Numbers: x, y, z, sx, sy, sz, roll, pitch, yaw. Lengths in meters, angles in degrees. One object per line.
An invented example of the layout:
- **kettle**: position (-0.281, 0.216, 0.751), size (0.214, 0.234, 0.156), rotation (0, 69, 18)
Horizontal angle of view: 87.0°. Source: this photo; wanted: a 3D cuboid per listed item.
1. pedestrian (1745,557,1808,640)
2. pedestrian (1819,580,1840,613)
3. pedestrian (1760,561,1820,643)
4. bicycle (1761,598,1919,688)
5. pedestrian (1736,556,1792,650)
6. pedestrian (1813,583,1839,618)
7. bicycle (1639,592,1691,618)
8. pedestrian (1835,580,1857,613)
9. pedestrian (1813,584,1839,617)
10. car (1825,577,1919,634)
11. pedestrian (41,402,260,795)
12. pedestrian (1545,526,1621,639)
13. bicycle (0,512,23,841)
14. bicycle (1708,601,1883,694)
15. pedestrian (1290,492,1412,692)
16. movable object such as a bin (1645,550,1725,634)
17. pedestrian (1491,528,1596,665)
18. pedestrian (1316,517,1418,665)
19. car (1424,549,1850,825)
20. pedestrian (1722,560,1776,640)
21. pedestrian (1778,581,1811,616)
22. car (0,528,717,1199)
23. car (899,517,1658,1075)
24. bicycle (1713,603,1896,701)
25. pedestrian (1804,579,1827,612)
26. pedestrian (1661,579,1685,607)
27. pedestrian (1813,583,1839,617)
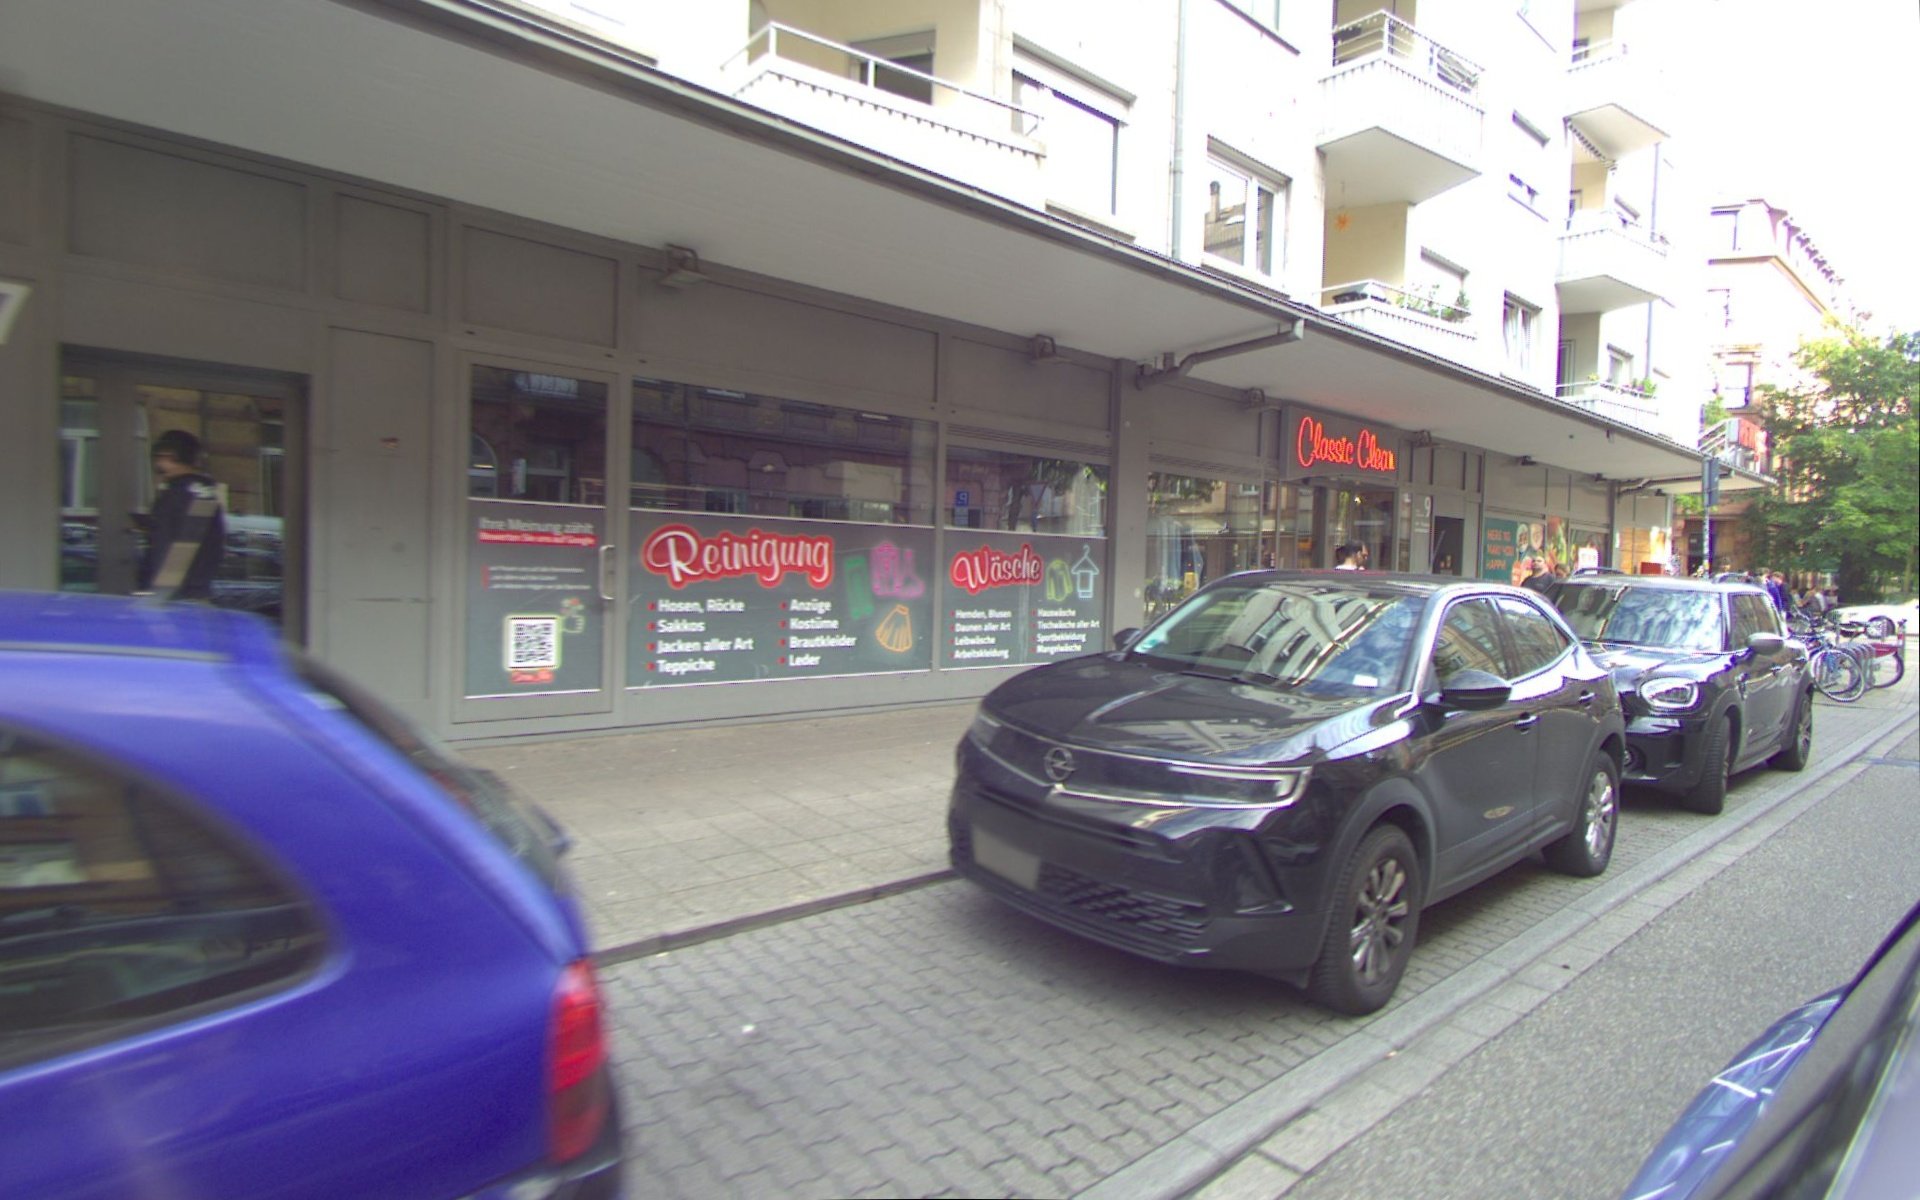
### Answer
- **pedestrian**: position (18.720, -0.047, 23.216), size (0.619, 1.818, 0.716), rotation (4, 3, -8)
- **pedestrian**: position (36.680, -0.158, 42.677), size (0.462, 1.343, 0.616), rotation (2, 3, 25)
- **pedestrian**: position (19.209, 0.033, 23.440), size (0.705, 1.818, 0.630), rotation (5, 3, 14)
- **bicycle**: position (13.569, 0.615, 15.464), size (0.892, 1.138, 1.886), rotation (0, 5, -42)
- **pedestrian**: position (15.730, 0.048, 19.805), size (0.762, 1.775, 0.917), rotation (3, 2, 41)
- **pedestrian**: position (34.124, 0.012, 39.887), size (0.725, 1.332, 0.514), rotation (1, 0, 38)
- **bicycle**: position (27.456, 0.175, 39.412), size (1.679, 0.981, 0.449), rotation (0, 3, -2)
- **pedestrian**: position (36.787, -0.147, 42.018), size (0.462, 1.343, 0.616), rotation (2, 3, 25)
- **pedestrian**: position (34.891, 0.010, 40.787), size (0.725, 1.332, 0.599), rotation (1, 0, 38)
- **car**: position (29.254, 0.218, 30.195), size (4.772, 1.617, 1.935), rotation (3, 2, 18)
- **pedestrian**: position (-4.165, -0.010, 5.259), size (0.631, 1.883, 0.711), rotation (1, 1, -12)
- **pedestrian**: position (9.604, -0.278, 15.598), size (0.700, 1.652, 0.723), rotation (1, 4, -43)
- **bicycle**: position (-5.024, 0.284, 3.583), size (2.455, 1.306, 0.921), rotation (0, 4, -41)
- **bicycle**: position (11.621, 0.632, 14.135), size (1.786, 1.083, 0.561), rotation (6, 3, 40)
- **pedestrian**: position (3.658, -0.079, 9.439), size (1.107, 1.748, 0.613), rotation (0, 0, -42)
- **movable object such as a bin**: position (15.982, -0.191, 22.281), size (2.380, 1.766, 0.781), rotation (0, 2, -40)
- **pedestrian**: position (7.985, -0.067, 13.852), size (1.031, 1.767, 0.851), rotation (0, 4, -43)
- **pedestrian**: position (5.110, -0.129, 12.748), size (0.800, 1.767, 0.718), rotation (3, 3, -11)
- **car**: position (5.457, 0.489, 7.984), size (3.855, 1.625, 1.796), rotation (0, 3, -41)
- **pedestrian**: position (18.709, -0.010, 24.000), size (0.645, 1.818, 0.657), rotation (3, 3, -28)
- **pedestrian**: position (33.828, -0.075, 41.042), size (0.656, 1.395, 0.718), rotation (1, 2, -6)
- **car**: position (-2.404, 0.616, 0.890), size (3.960, 1.457, 1.599), rotation (0, 3, -42)
- **car**: position (1.752, 0.515, 4.802), size (3.835, 1.596, 1.691), rotation (0, 3, -42)
- **bicycle**: position (11.251, 0.661, 13.557), size (1.786, 1.083, 0.578), rotation (6, 3, 40)
- **pedestrian**: position (35.654, -0.185, 42.171), size (0.543, 1.316, 0.616), rotation (2, 3, 25)
- **pedestrian**: position (31.659, -0.322, 44.950), size (0.628, 1.239, 0.513), rotation (0, 3, -8)
- **pedestrian**: position (34.485, 0.011, 40.299), size (0.725, 1.332, 0.514), rotation (1, 0, 38)
